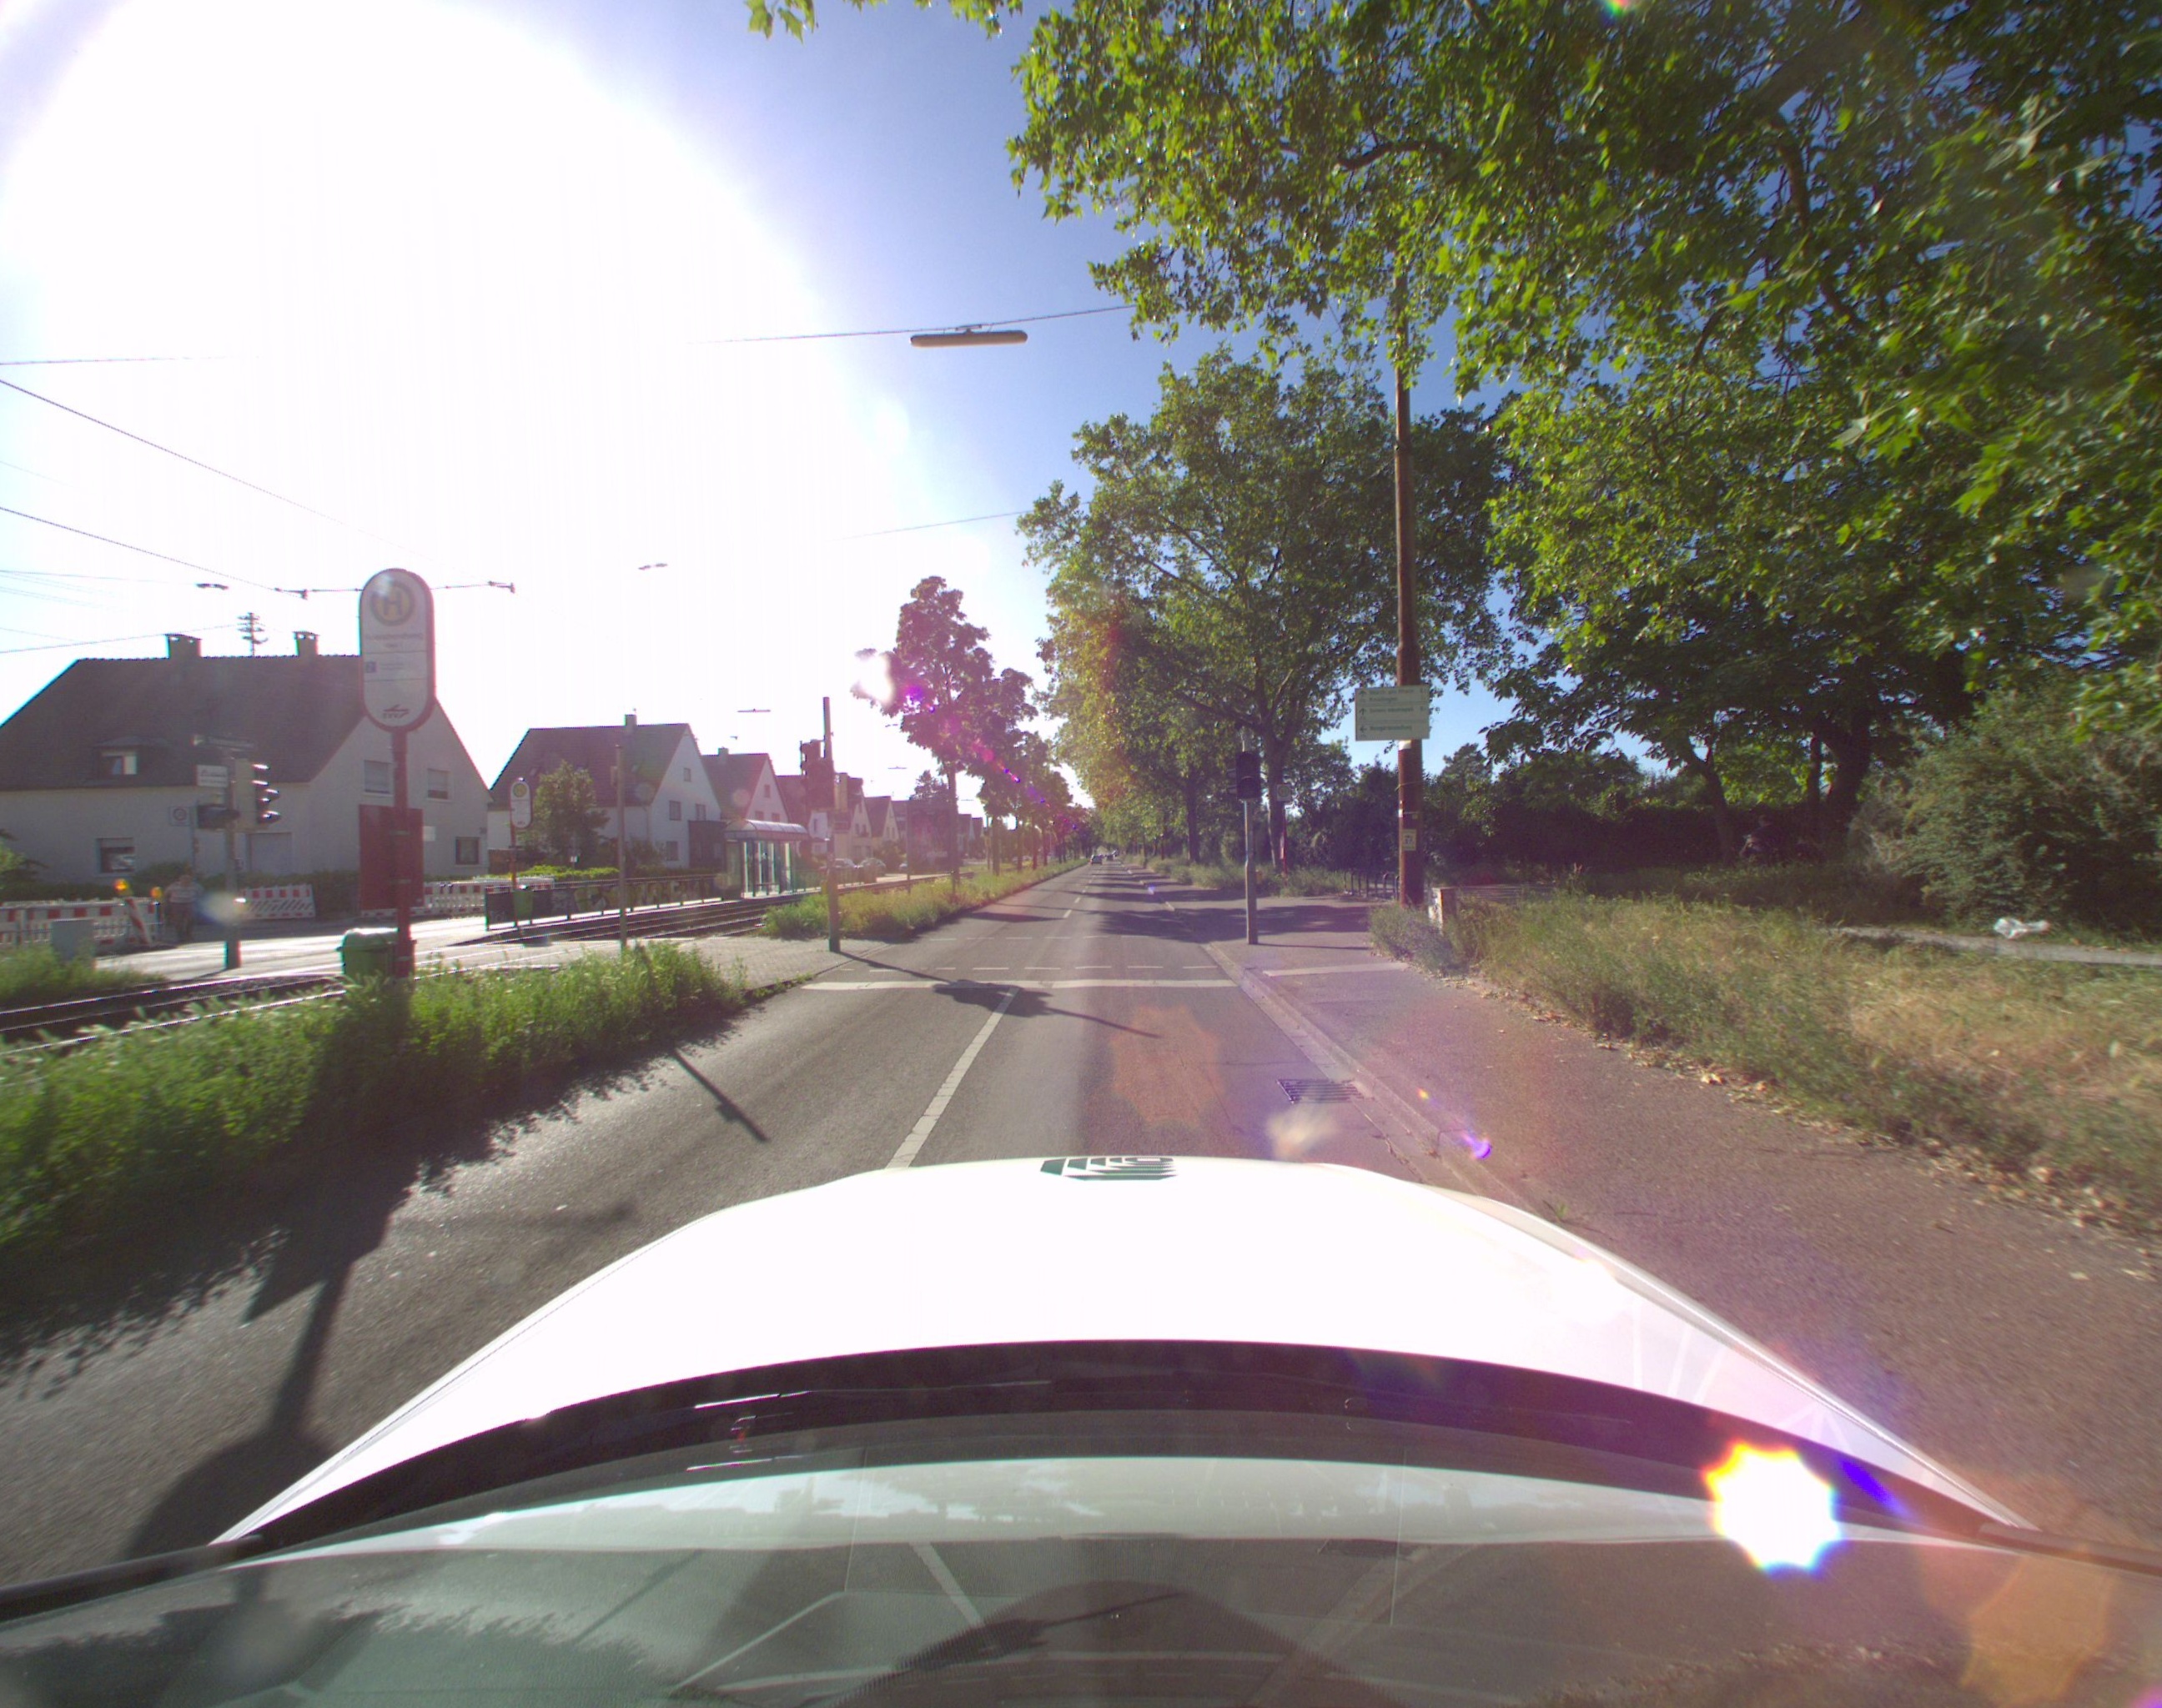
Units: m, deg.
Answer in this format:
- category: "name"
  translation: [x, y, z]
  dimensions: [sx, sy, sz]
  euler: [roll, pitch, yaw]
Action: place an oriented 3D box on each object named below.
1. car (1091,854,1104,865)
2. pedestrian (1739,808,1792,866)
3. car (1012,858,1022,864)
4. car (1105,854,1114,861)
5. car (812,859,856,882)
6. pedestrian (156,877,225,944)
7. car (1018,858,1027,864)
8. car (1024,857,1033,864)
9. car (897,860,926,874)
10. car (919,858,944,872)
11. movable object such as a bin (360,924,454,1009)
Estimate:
- category: "car"
  translation: [2.385, 0.849, 119.462]
  dimensions: [1.853, 1.601, 4.229]
  euler: [0, 0, 2]
- category: "pedestrian"
  translation: [14.819, -0.355, 17.636]
  dimensions: [0.739, 1.220, 0.683]
  euler: [0, -1, -33]
- category: "car"
  translation: [-14.465, 1.584, 184.383]
  dimensions: [1.853, 1.542, 4.229]
  euler: [0, 0, 2]
- category: "car"
  translation: [6.620, 0.842, 191.078]
  dimensions: [1.986, 1.603, 4.475]
  euler: [0, 0, 2]
- category: "car"
  translation: [-19.144, 1.274, 63.339]
  dimensions: [1.986, 1.713, 4.392]
  euler: [0, 0, 2]
- category: "pedestrian"
  translation: [-21.846, 1.362, 20.000]
  dimensions: [0.814, 1.534, 0.788]
  euler: [-2, 2, -23]
- category: "car"
  translation: [-13.905, 1.734, 193.524]
  dimensions: [1.723, 1.466, 4.604]
  euler: [0, 0, 2]
- category: "car"
  translation: [-13.246, 1.599, 204.571]
  dimensions: [1.741, 1.651, 4.557]
  euler: [0, 0, 2]
- category: "car"
  translation: [-18.032, 1.403, 86.807]
  dimensions: [1.985, 1.426, 4.414]
  euler: [0, 0, 4]
- category: "car"
  translation: [-17.593, 1.281, 95.942]
  dimensions: [1.986, 1.450, 4.129]
  euler: [2, 0, 2]
- category: "movable object such as a bin"
  translation: [-5.053, 0.833, 6.113]
  dimensions: [0.384, 0.582, 0.380]
  euler: [0, -1, 10]
